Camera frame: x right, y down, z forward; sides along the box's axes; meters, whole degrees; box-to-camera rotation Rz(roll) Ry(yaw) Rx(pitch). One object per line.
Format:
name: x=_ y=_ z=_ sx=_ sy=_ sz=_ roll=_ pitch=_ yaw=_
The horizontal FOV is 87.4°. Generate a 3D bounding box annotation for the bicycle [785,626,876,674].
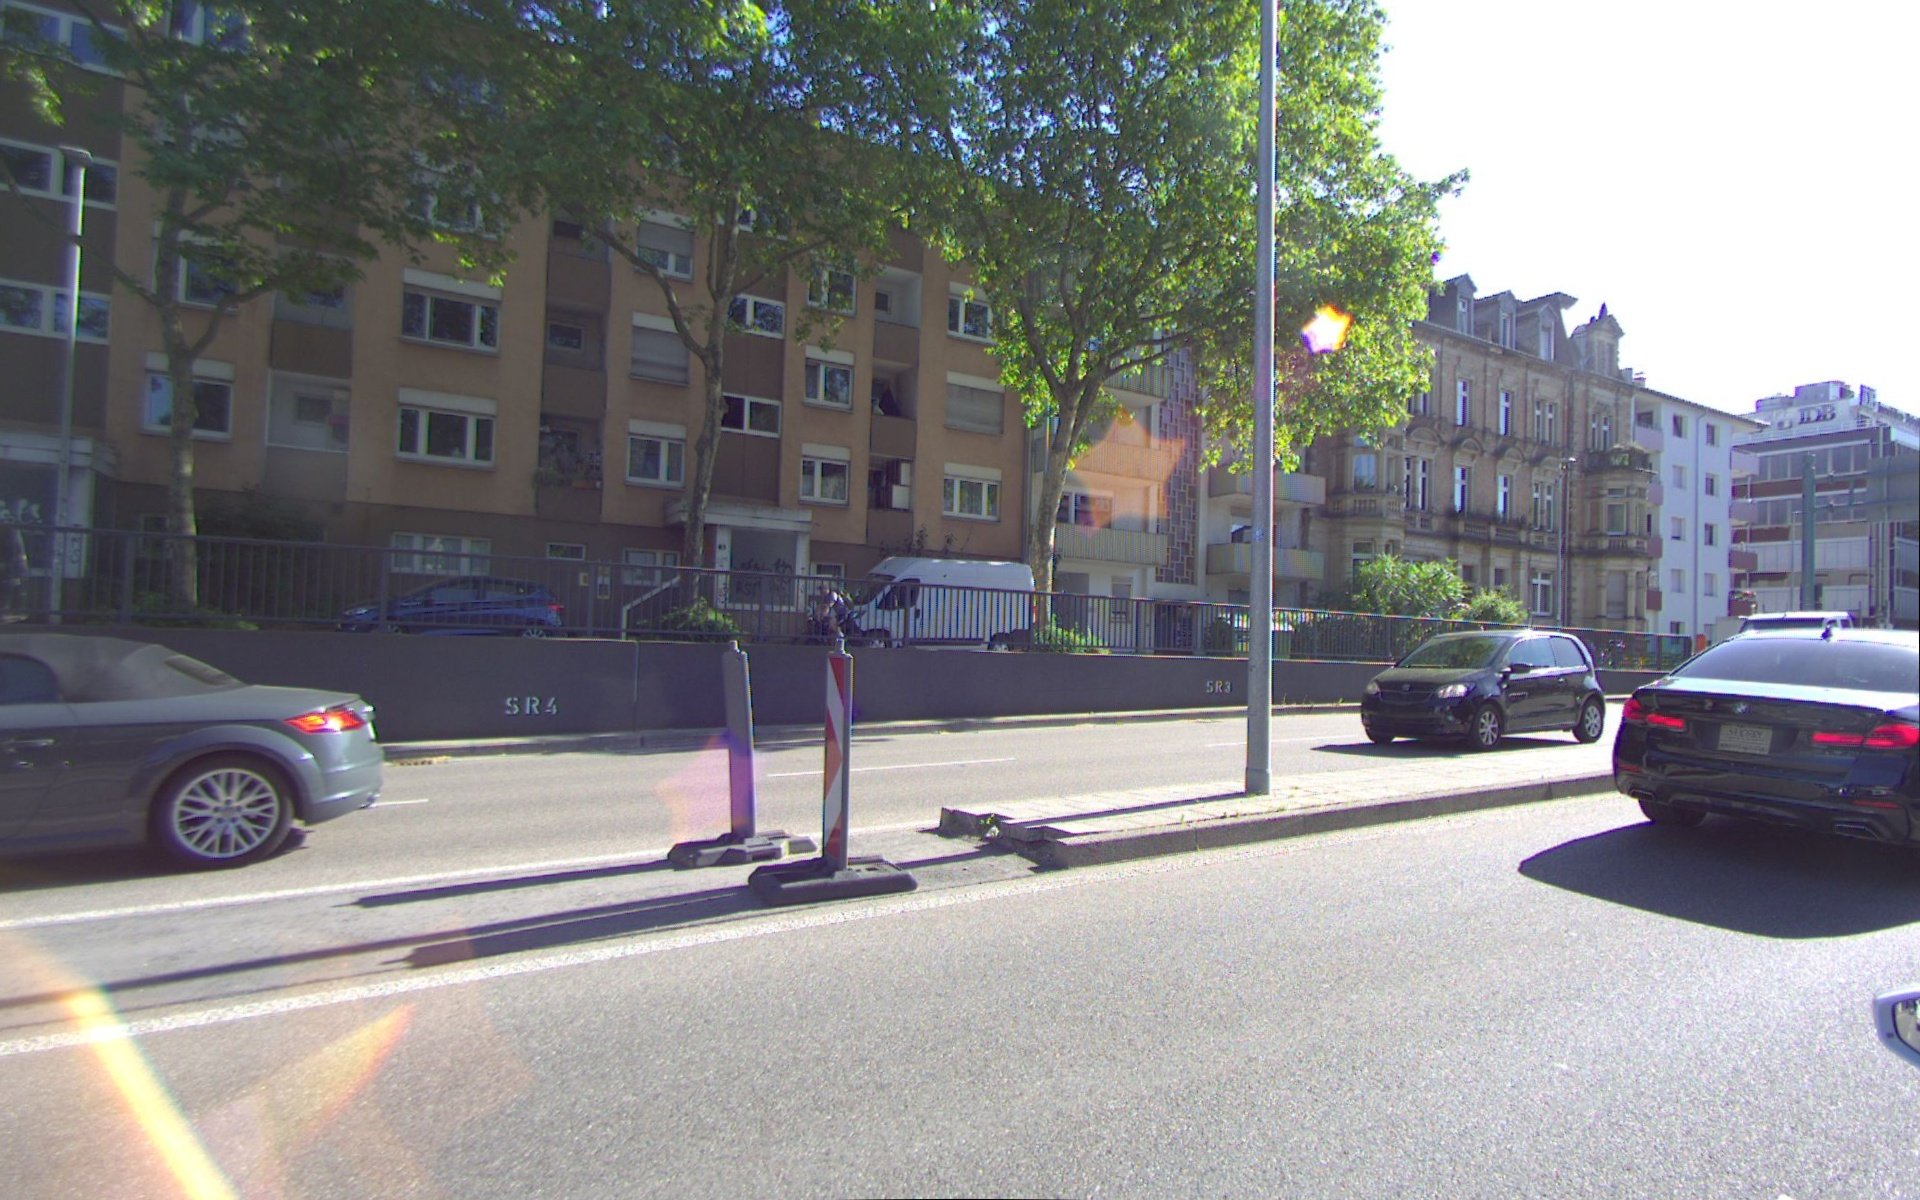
bicycle: x=-2.674 y=1.042 z=20.813 sx=1.740 sy=0.939 sz=0.652 roll=2 pitch=0 yaw=-34

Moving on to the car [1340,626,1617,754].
car: x=6.870 y=1.151 z=13.253 sx=3.568 sy=1.476 sz=1.601 roll=2 pitch=-5 yaw=-32

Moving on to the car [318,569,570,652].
car: x=-9.938 y=0.226 z=19.494 sx=4.124 sy=1.407 sz=1.983 roll=2 pitch=0 yaw=-31

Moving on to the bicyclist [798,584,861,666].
bicyclist: x=-2.696 y=0.521 z=20.788 sx=1.012 sy=1.655 sz=0.770 roll=2 pitch=0 yaw=-34

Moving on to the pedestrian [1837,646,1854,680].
pedestrian: x=52.268 y=3.704 z=59.268 sx=0.718 sy=1.921 sz=0.652 roll=2 pitch=0 yaw=-43

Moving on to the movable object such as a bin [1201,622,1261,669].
movable object such as a bin: x=8.625 y=1.435 z=31.978 sx=1.286 sy=1.421 sz=1.273 roll=2 pitch=0 yaw=-30

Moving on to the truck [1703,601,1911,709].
truck: x=22.323 y=1.382 z=26.401 sx=6.056 sy=2.561 sz=2.219 roll=1 pitch=-2 yaw=-30

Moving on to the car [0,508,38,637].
car: x=-17.088 y=-0.513 z=15.039 sx=4.479 sy=1.986 sz=1.954 roll=2 pitch=0 yaw=-33

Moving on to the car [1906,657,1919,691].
car: x=42.776 y=3.230 z=43.220 sx=3.563 sy=1.428 sz=1.673 roll=2 pitch=-1 yaw=-22

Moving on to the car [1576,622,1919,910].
car: x=6.732 y=0.945 z=7.296 sx=4.946 sy=1.458 sz=1.799 roll=2 pitch=0 yaw=-32

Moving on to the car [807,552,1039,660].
car: x=-0.863 y=0.200 z=24.702 sx=5.355 sy=2.391 sz=1.984 roll=2 pitch=0 yaw=-30

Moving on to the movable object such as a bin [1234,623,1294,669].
movable object such as a bin: x=9.855 y=1.487 z=32.551 sx=1.309 sy=1.421 sz=1.273 roll=2 pitch=0 yaw=-30

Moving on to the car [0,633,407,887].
car: x=-5.475 y=0.870 z=5.835 sx=3.884 sy=1.316 sz=1.531 roll=2 pitch=-4 yaw=-32
